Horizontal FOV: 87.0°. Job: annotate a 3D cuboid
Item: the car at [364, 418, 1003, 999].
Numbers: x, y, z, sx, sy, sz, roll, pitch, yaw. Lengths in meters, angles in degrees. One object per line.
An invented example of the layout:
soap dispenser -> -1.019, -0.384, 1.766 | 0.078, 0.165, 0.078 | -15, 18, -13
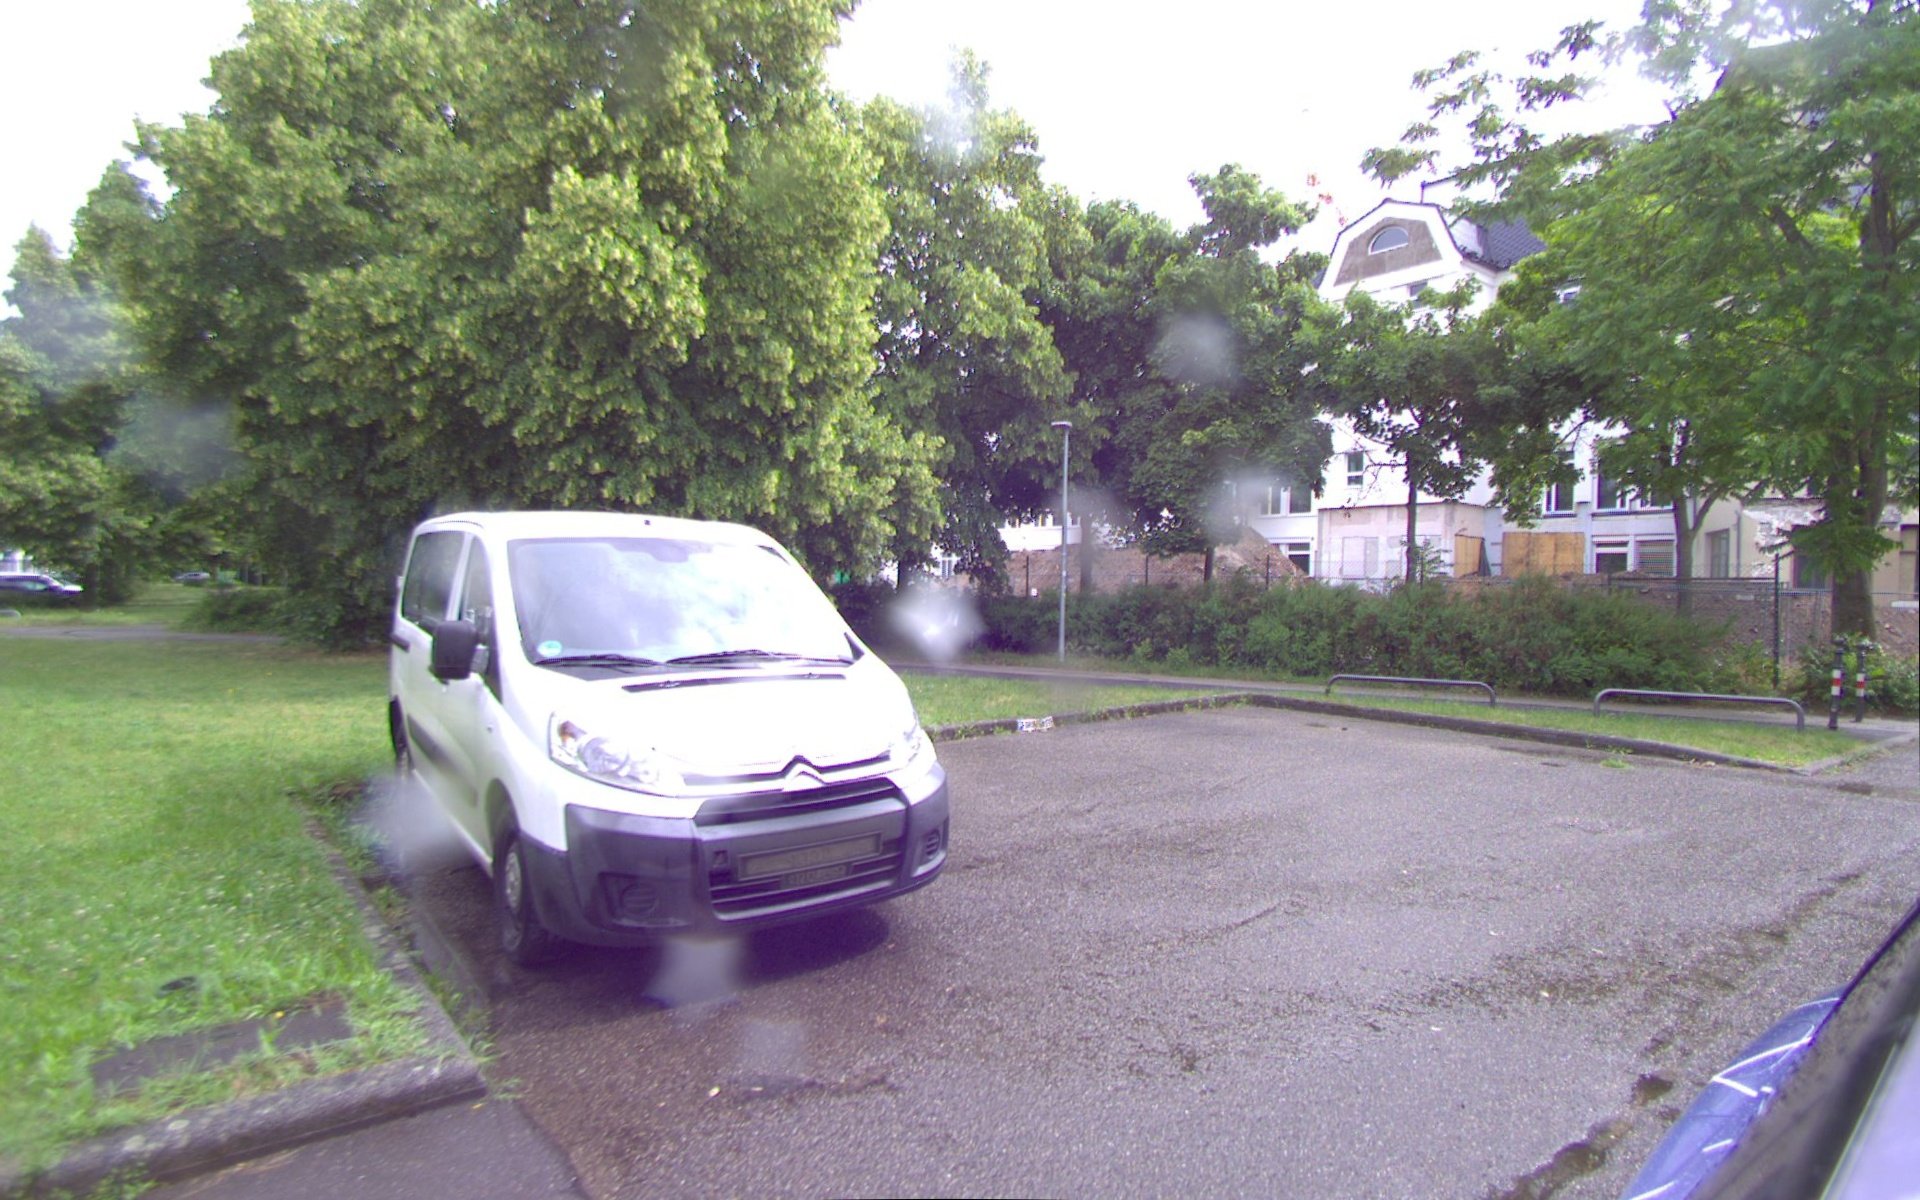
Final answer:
car -> -2.069, 0.343, 5.995 | 2.060, 1.950, 4.888 | 0, 0, -36

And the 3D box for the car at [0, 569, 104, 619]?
car -> -40.539, -0.278, 44.257 | 4.498, 1.965, 2.052 | 3, 0, -36
